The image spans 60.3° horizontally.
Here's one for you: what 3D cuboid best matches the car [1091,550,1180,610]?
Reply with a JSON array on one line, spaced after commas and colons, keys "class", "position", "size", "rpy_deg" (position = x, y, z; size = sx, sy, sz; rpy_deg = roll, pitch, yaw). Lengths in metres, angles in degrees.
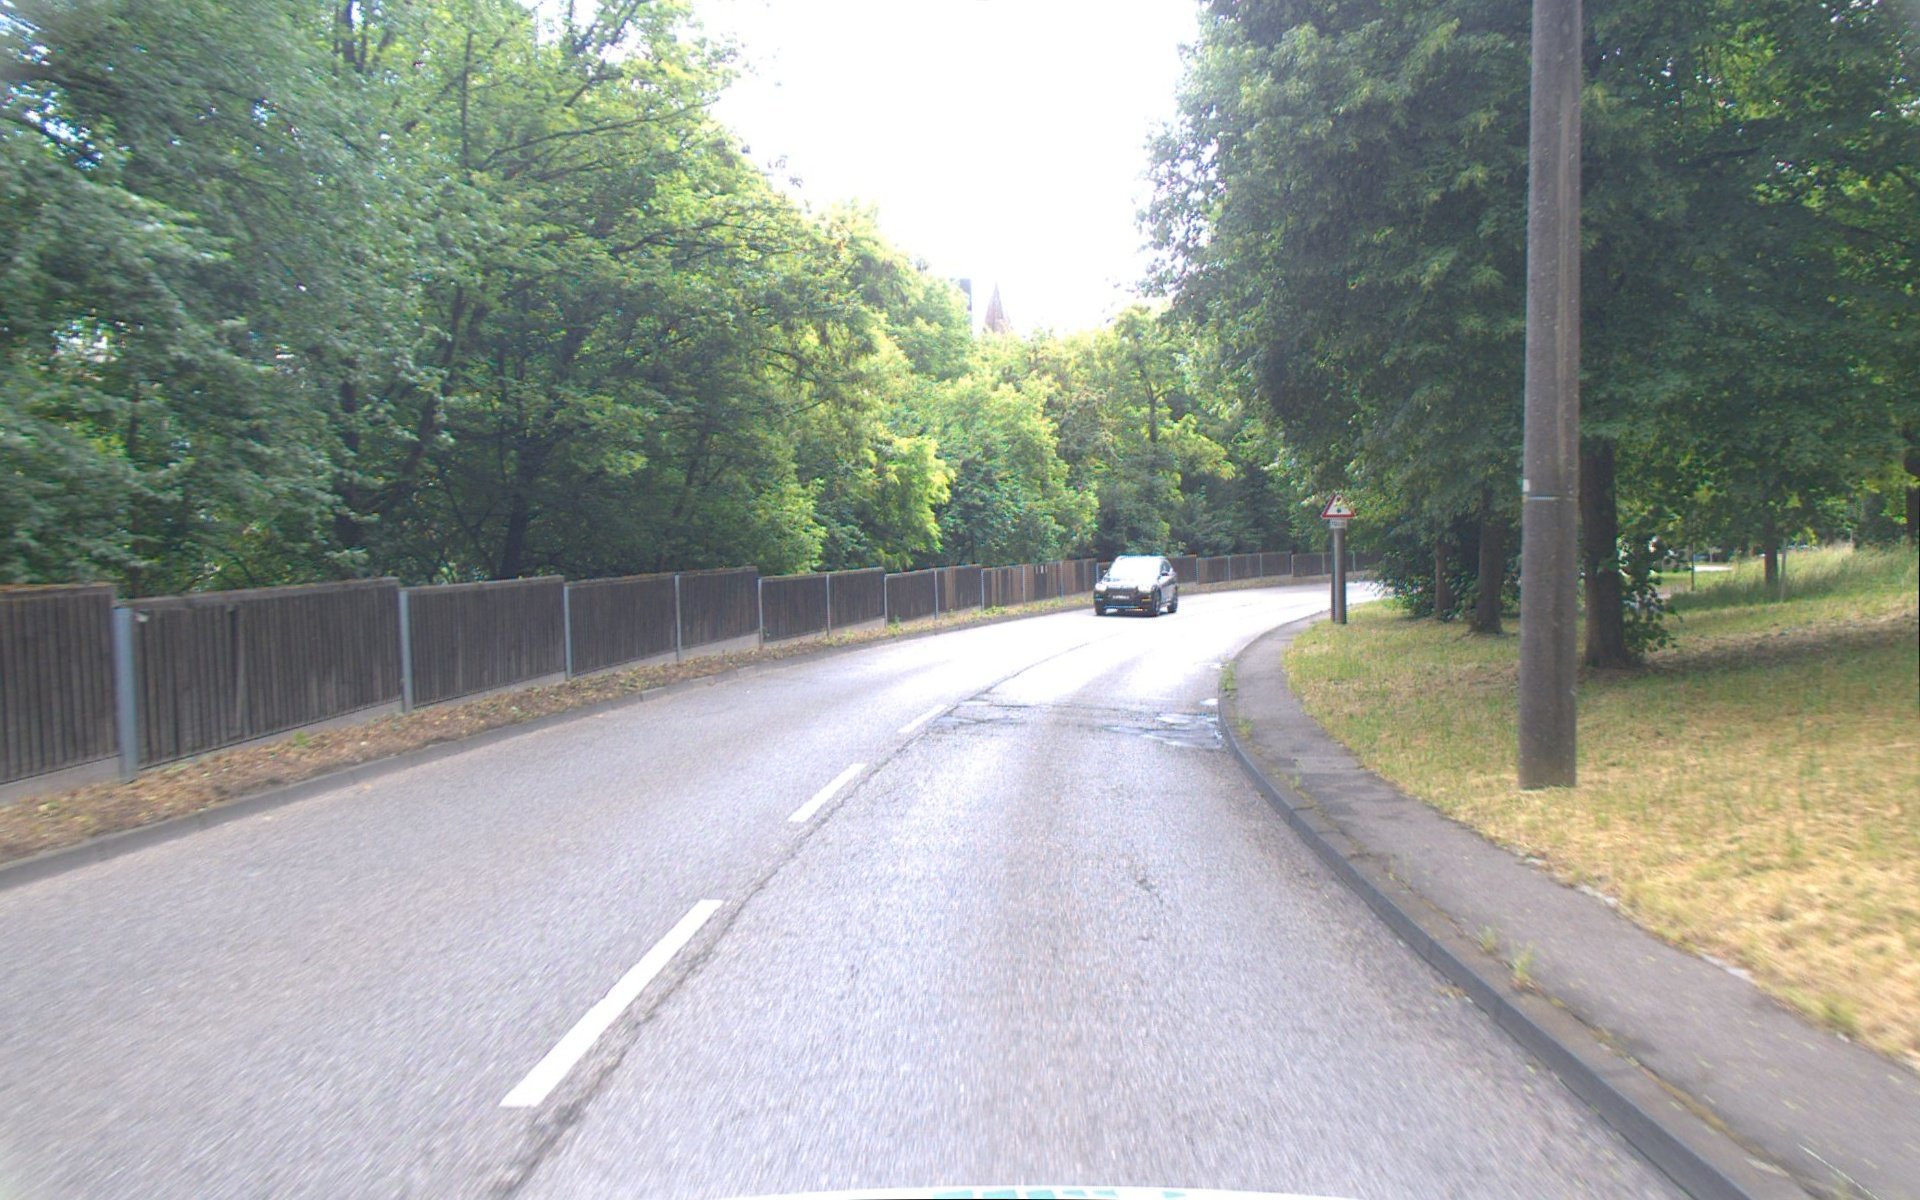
[{"class": "car", "position": [5.062, -0.600, 47.290], "size": [1.806, 1.591, 4.236], "rpy_deg": [1, 2, 16]}]
